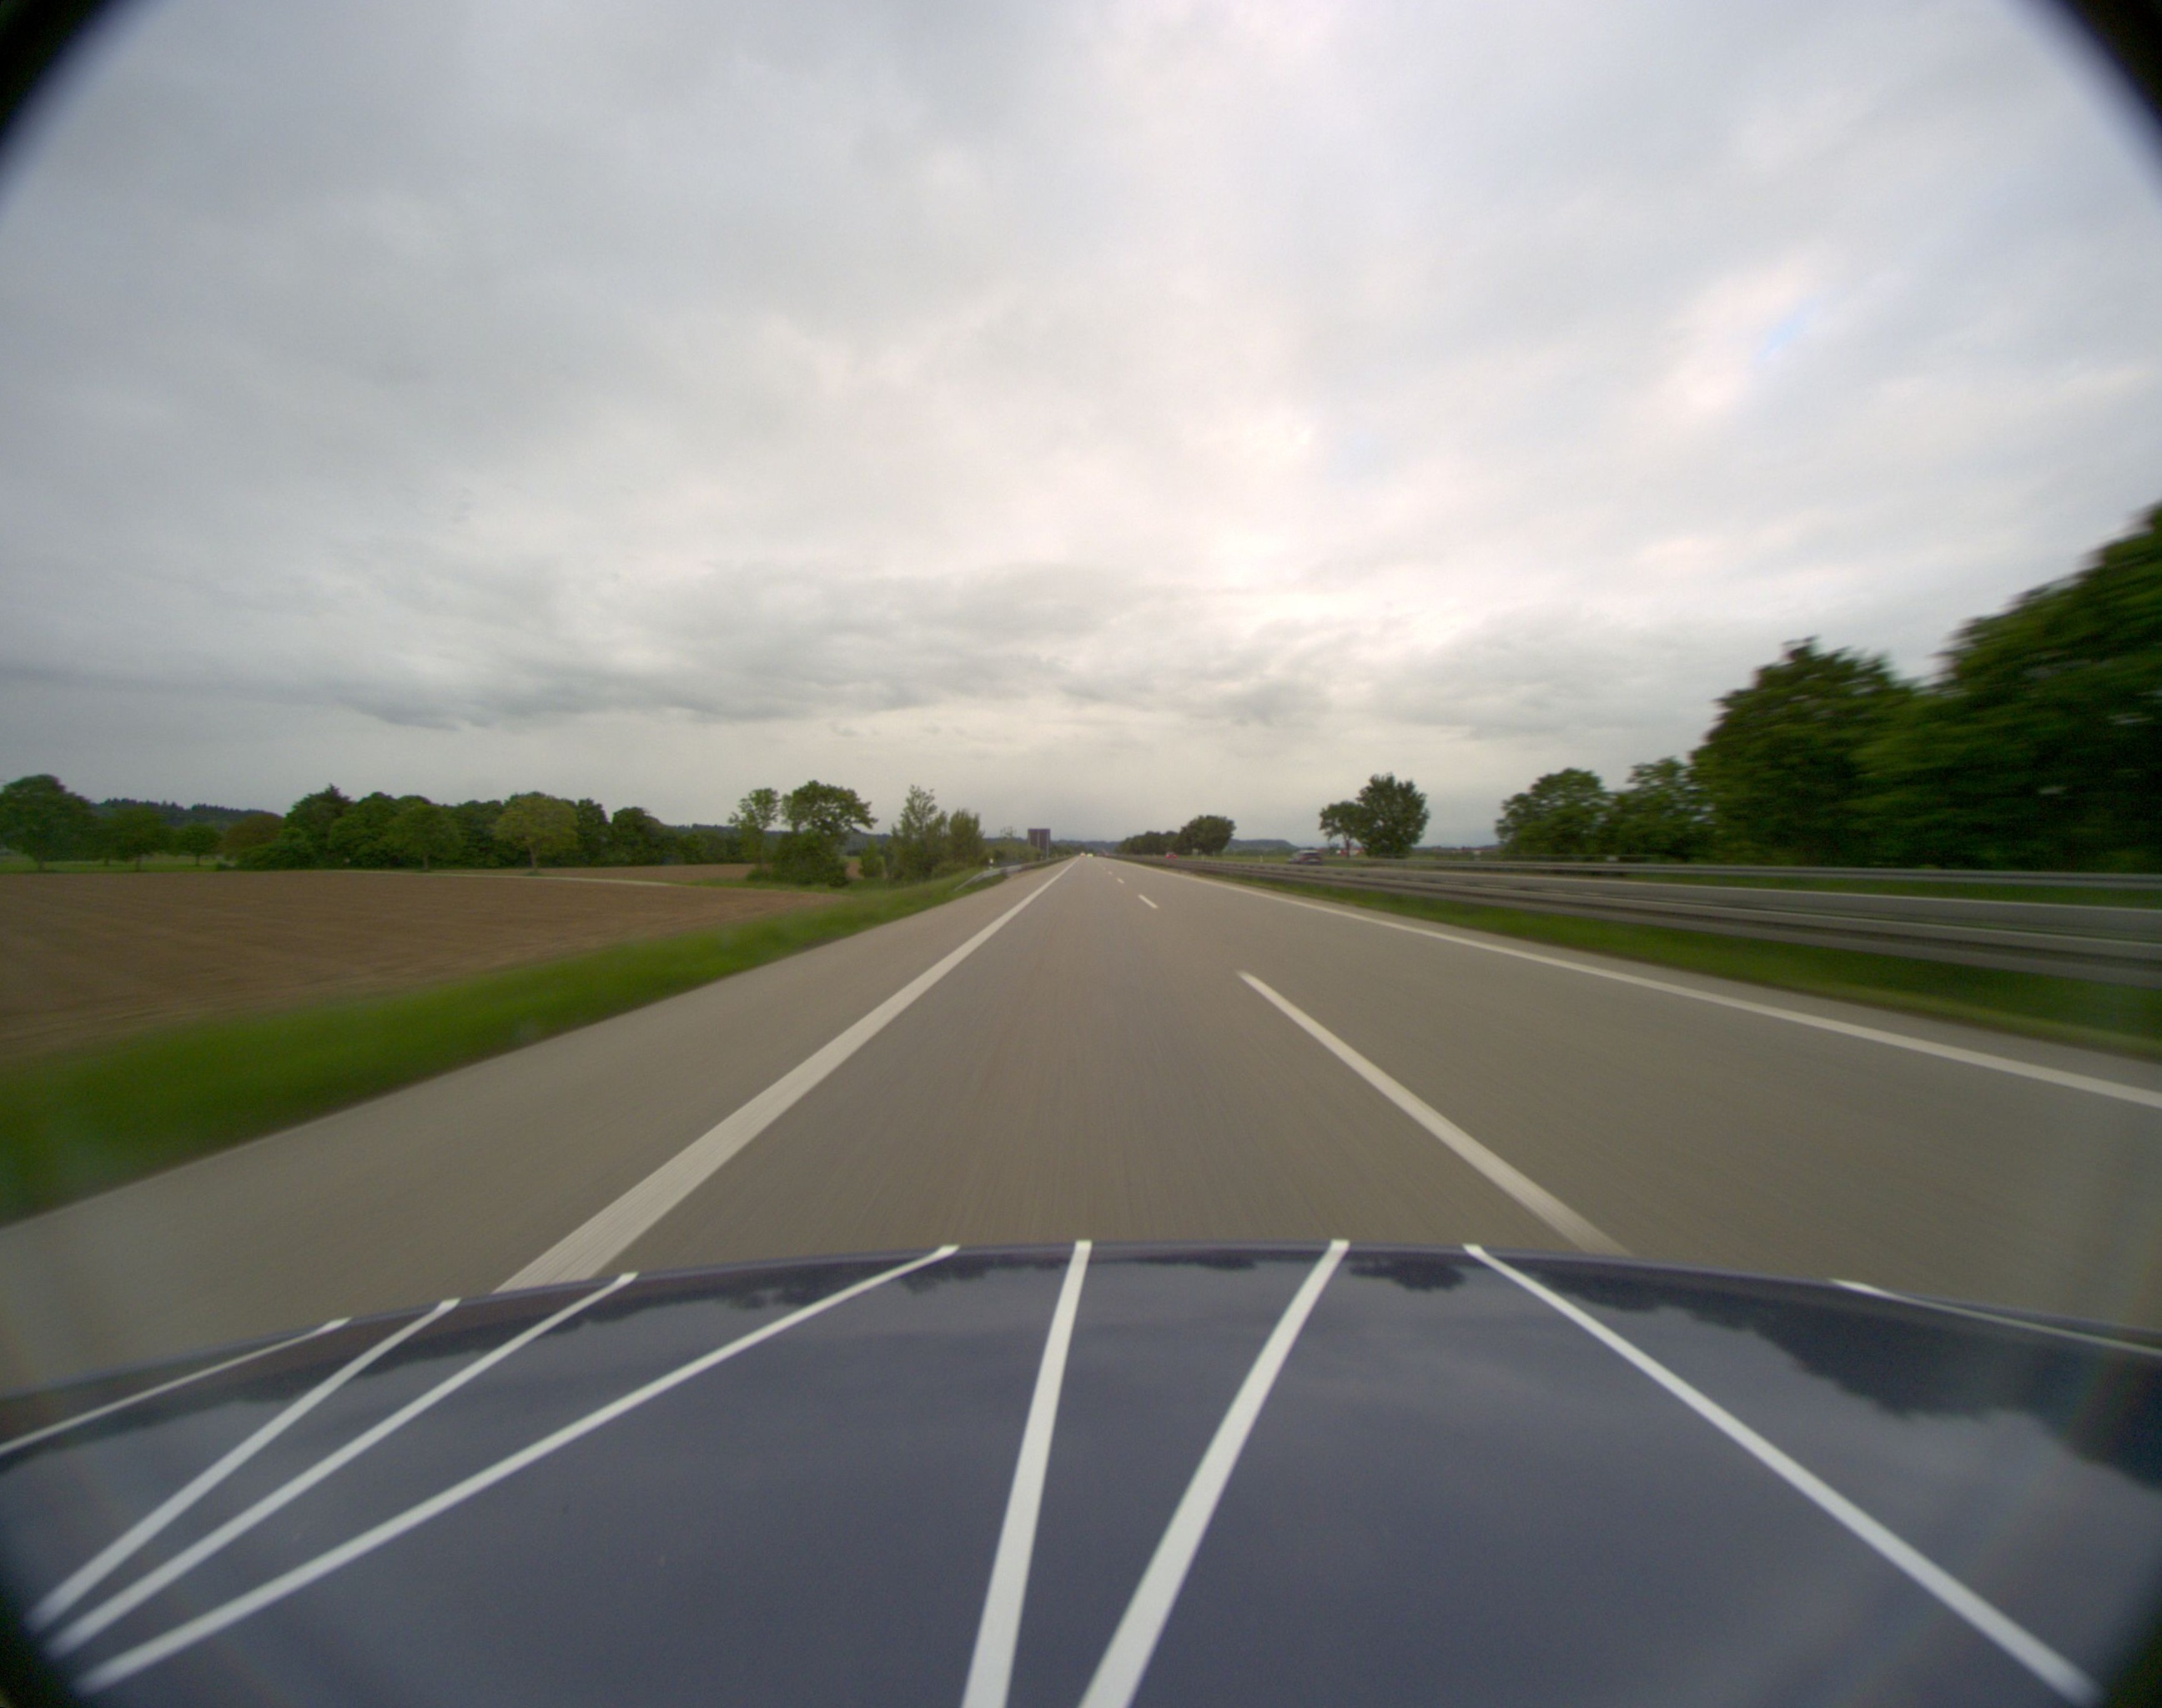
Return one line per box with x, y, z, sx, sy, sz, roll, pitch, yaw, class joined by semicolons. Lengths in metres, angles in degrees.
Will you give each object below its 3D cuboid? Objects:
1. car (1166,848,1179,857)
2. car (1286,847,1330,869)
18.000;-0.251;149.491;1.822;1.553;4.523;-3;1;0;car
17.472;0.273;58.809;1.998;1.573;4.809;-2;1;1;car
